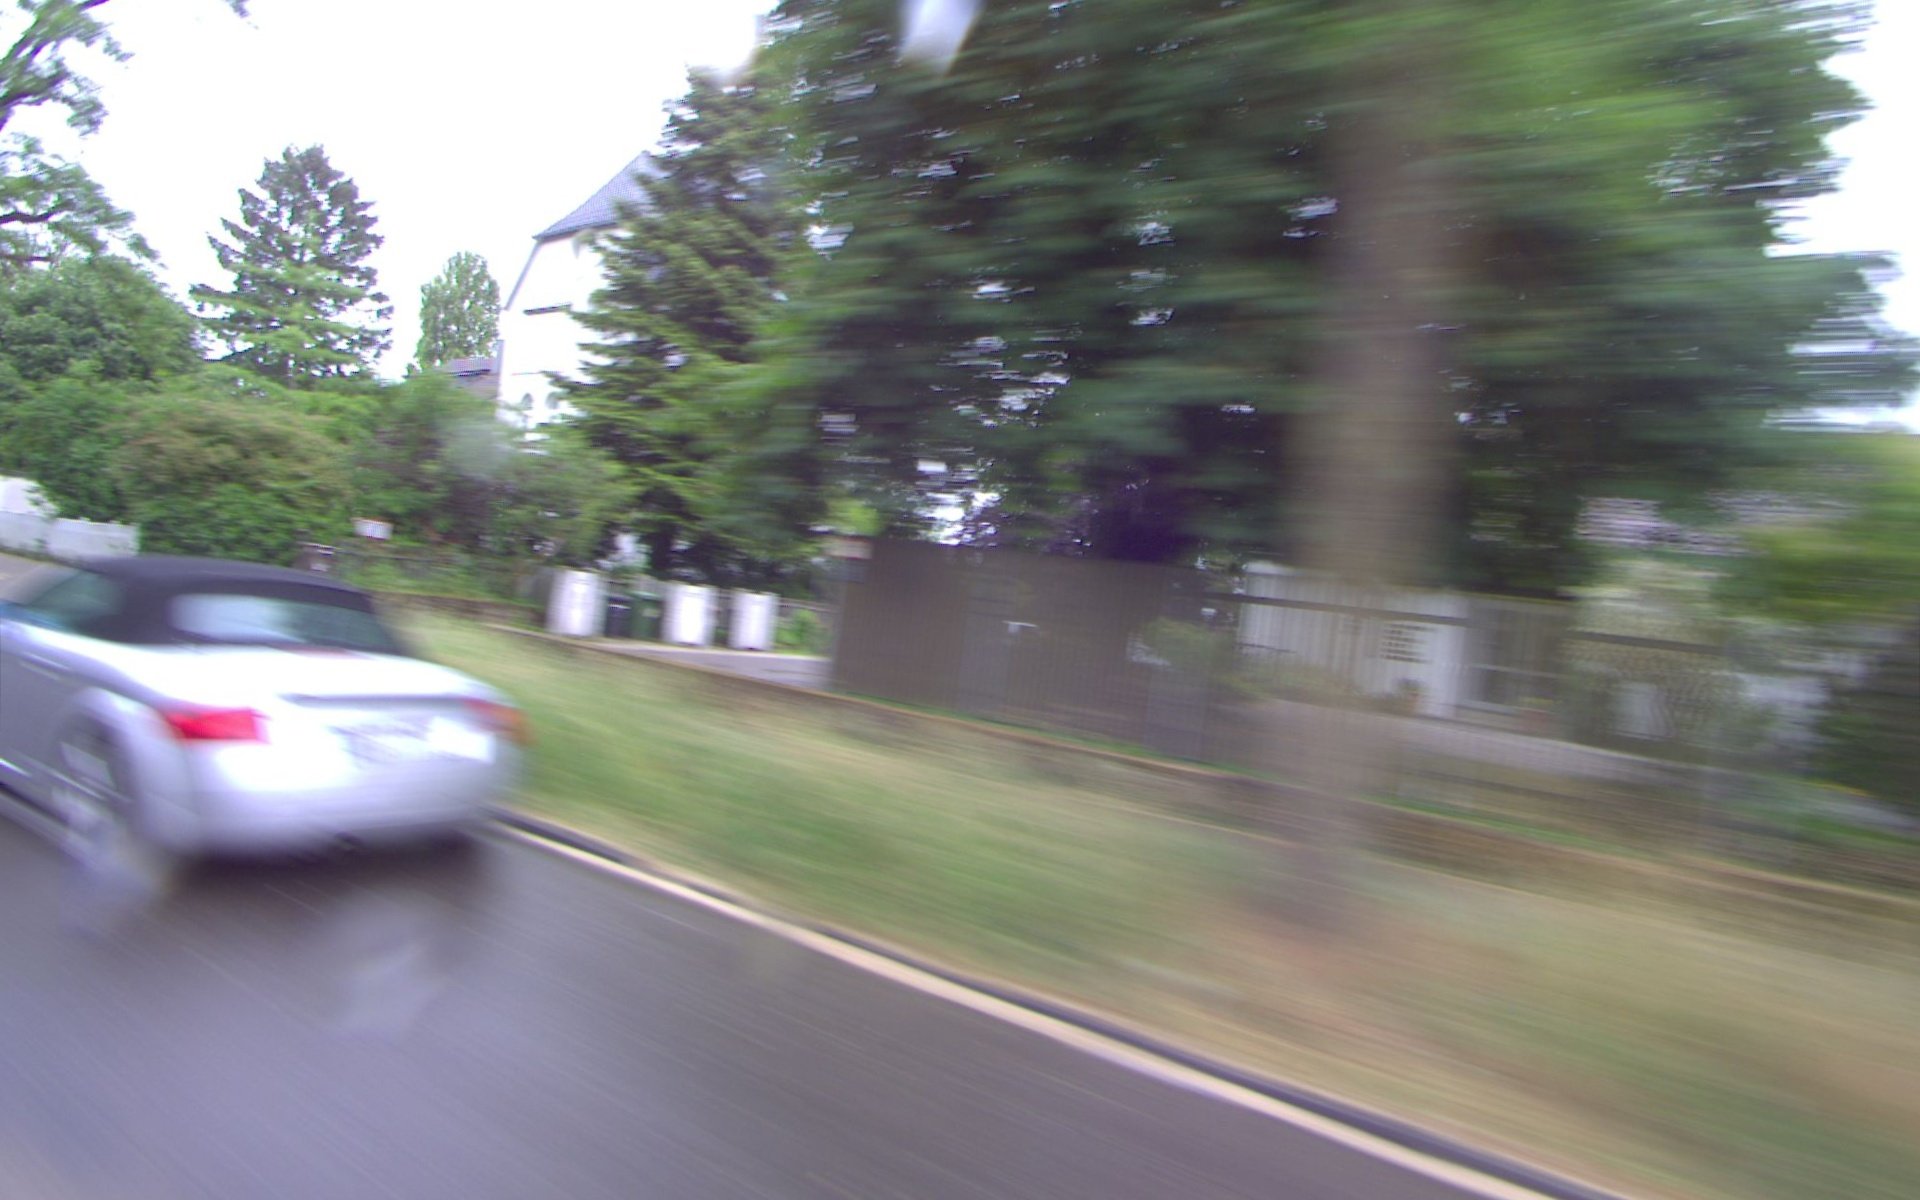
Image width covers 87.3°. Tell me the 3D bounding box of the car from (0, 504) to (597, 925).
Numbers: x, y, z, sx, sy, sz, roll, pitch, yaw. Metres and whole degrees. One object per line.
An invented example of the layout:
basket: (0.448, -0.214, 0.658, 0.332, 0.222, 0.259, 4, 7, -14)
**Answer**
car: (-4.099, 0.364, 5.427, 3.932, 1.411, 1.786, 7, -2, 30)
